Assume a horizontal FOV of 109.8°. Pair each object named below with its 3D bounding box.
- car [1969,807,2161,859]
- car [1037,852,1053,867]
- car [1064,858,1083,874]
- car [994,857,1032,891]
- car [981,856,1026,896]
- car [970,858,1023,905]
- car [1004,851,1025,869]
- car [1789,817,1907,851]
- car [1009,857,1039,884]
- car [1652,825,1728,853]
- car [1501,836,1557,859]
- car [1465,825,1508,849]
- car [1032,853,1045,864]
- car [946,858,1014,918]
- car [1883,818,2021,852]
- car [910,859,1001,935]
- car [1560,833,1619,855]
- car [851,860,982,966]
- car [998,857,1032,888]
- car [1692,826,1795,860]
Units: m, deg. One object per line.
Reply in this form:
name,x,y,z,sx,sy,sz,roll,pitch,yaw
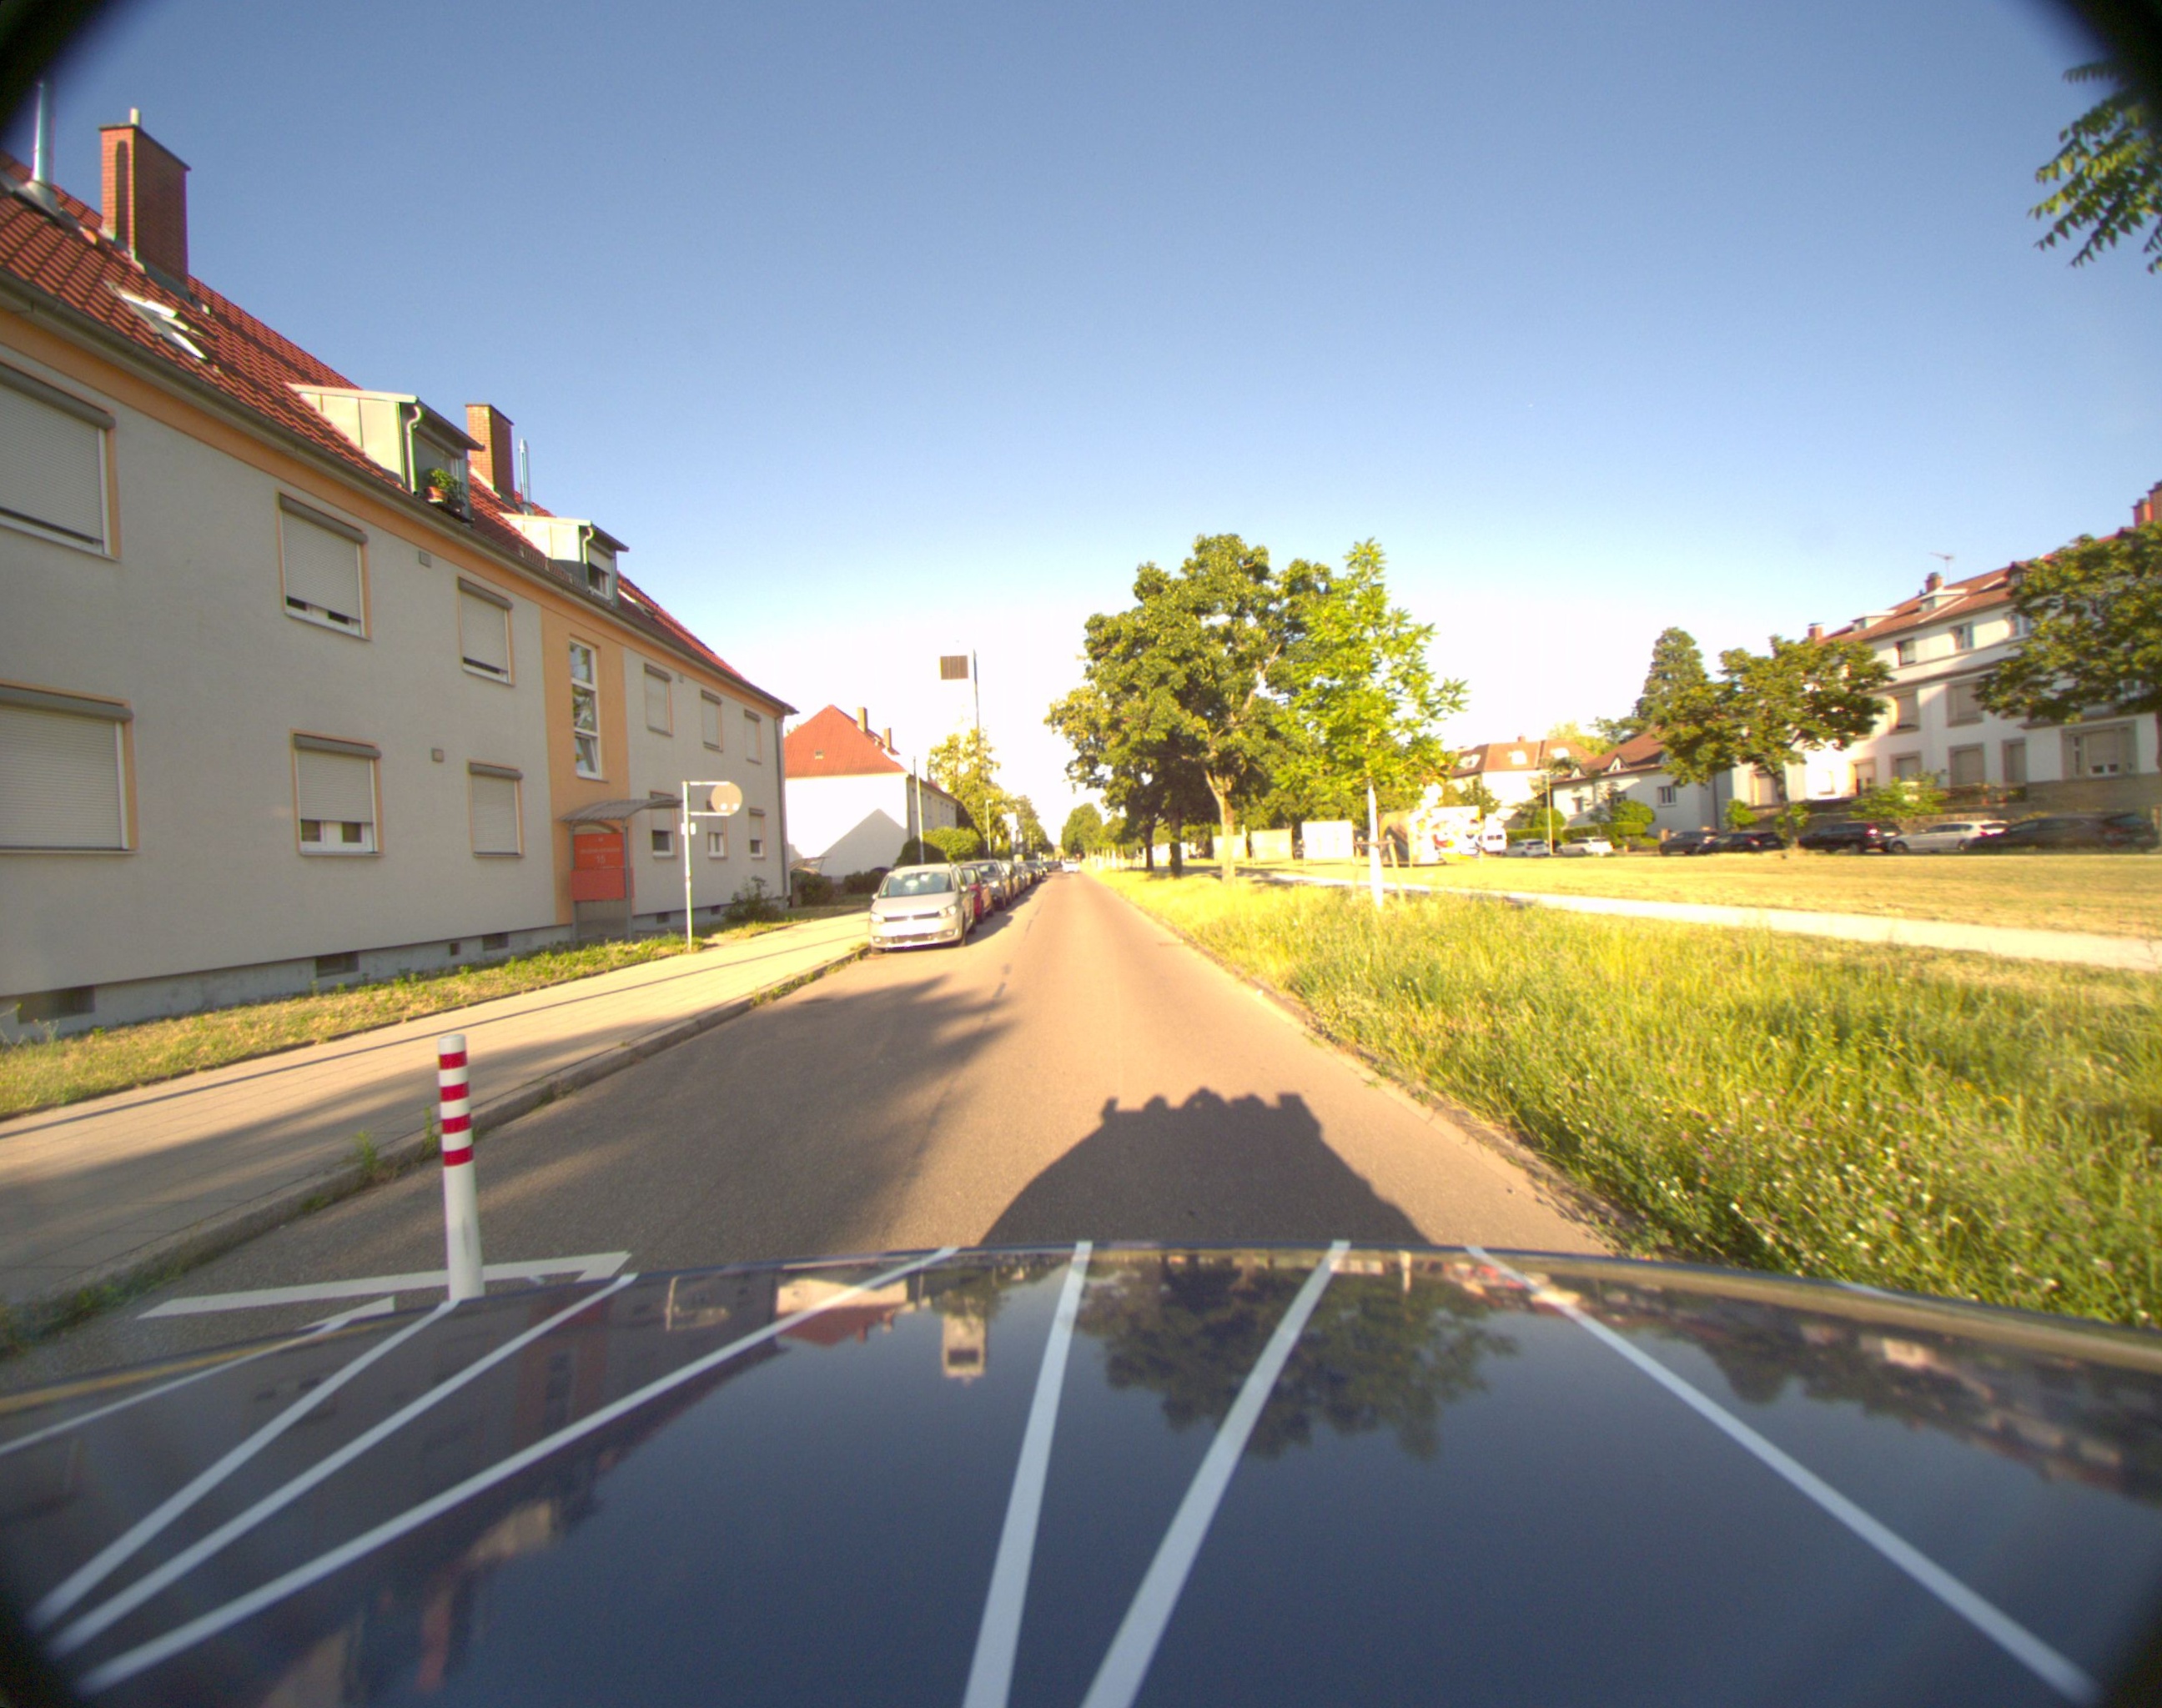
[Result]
car,33.606,-0.688,26.022,1.825,1.571,3.836,-3,0,-1
car,-4.650,0.696,98.266,1.850,1.686,3.999,-4,0,-3
car,-0.931,1.361,87.524,1.870,1.686,4.299,-4,0,-3
car,-3.786,1.074,42.667,1.850,1.686,3.999,-4,0,-3
car,-3.716,1.039,37.080,1.850,1.686,3.999,-4,0,-3
car,-3.441,1.079,31.569,1.850,1.686,3.999,-4,0,-3
car,-6.798,0.629,78.378,1.850,1.686,3.999,-4,0,-3
car,39.455,-0.998,39.225,1.825,1.571,4.162,-3,0,-1
car,-3.920,1.111,52.508,1.850,1.686,3.999,-4,0,-3
car,38.862,-0.915,48.625,1.642,1.652,4.000,-3,0,1
car,33.490,-0.501,56.892,1.825,1.571,3.836,-3,0,-1
car,38.739,-1.580,72.689,1.998,2.201,4.131,-3,0,2
car,-6.911,0.751,124.053,1.850,1.686,3.999,-4,0,-3
car,-3.323,1.073,25.688,1.850,1.686,3.999,-4,0,-3
car,39.584,-0.832,34.669,1.641,1.437,4.008,-2,0,-2
car,-3.276,1.068,20.525,1.850,1.686,3.999,-4,0,-3
car,39.201,-0.753,58.689,1.825,1.571,3.967,-3,0,-1
car,-3.151,1.051,15.382,1.850,1.686,3.999,-4,0,-3
car,-4.113,1.124,47.959,1.850,1.686,3.999,-4,0,-3
car,33.751,-0.523,38.853,1.825,1.571,3.836,-3,0,-1
